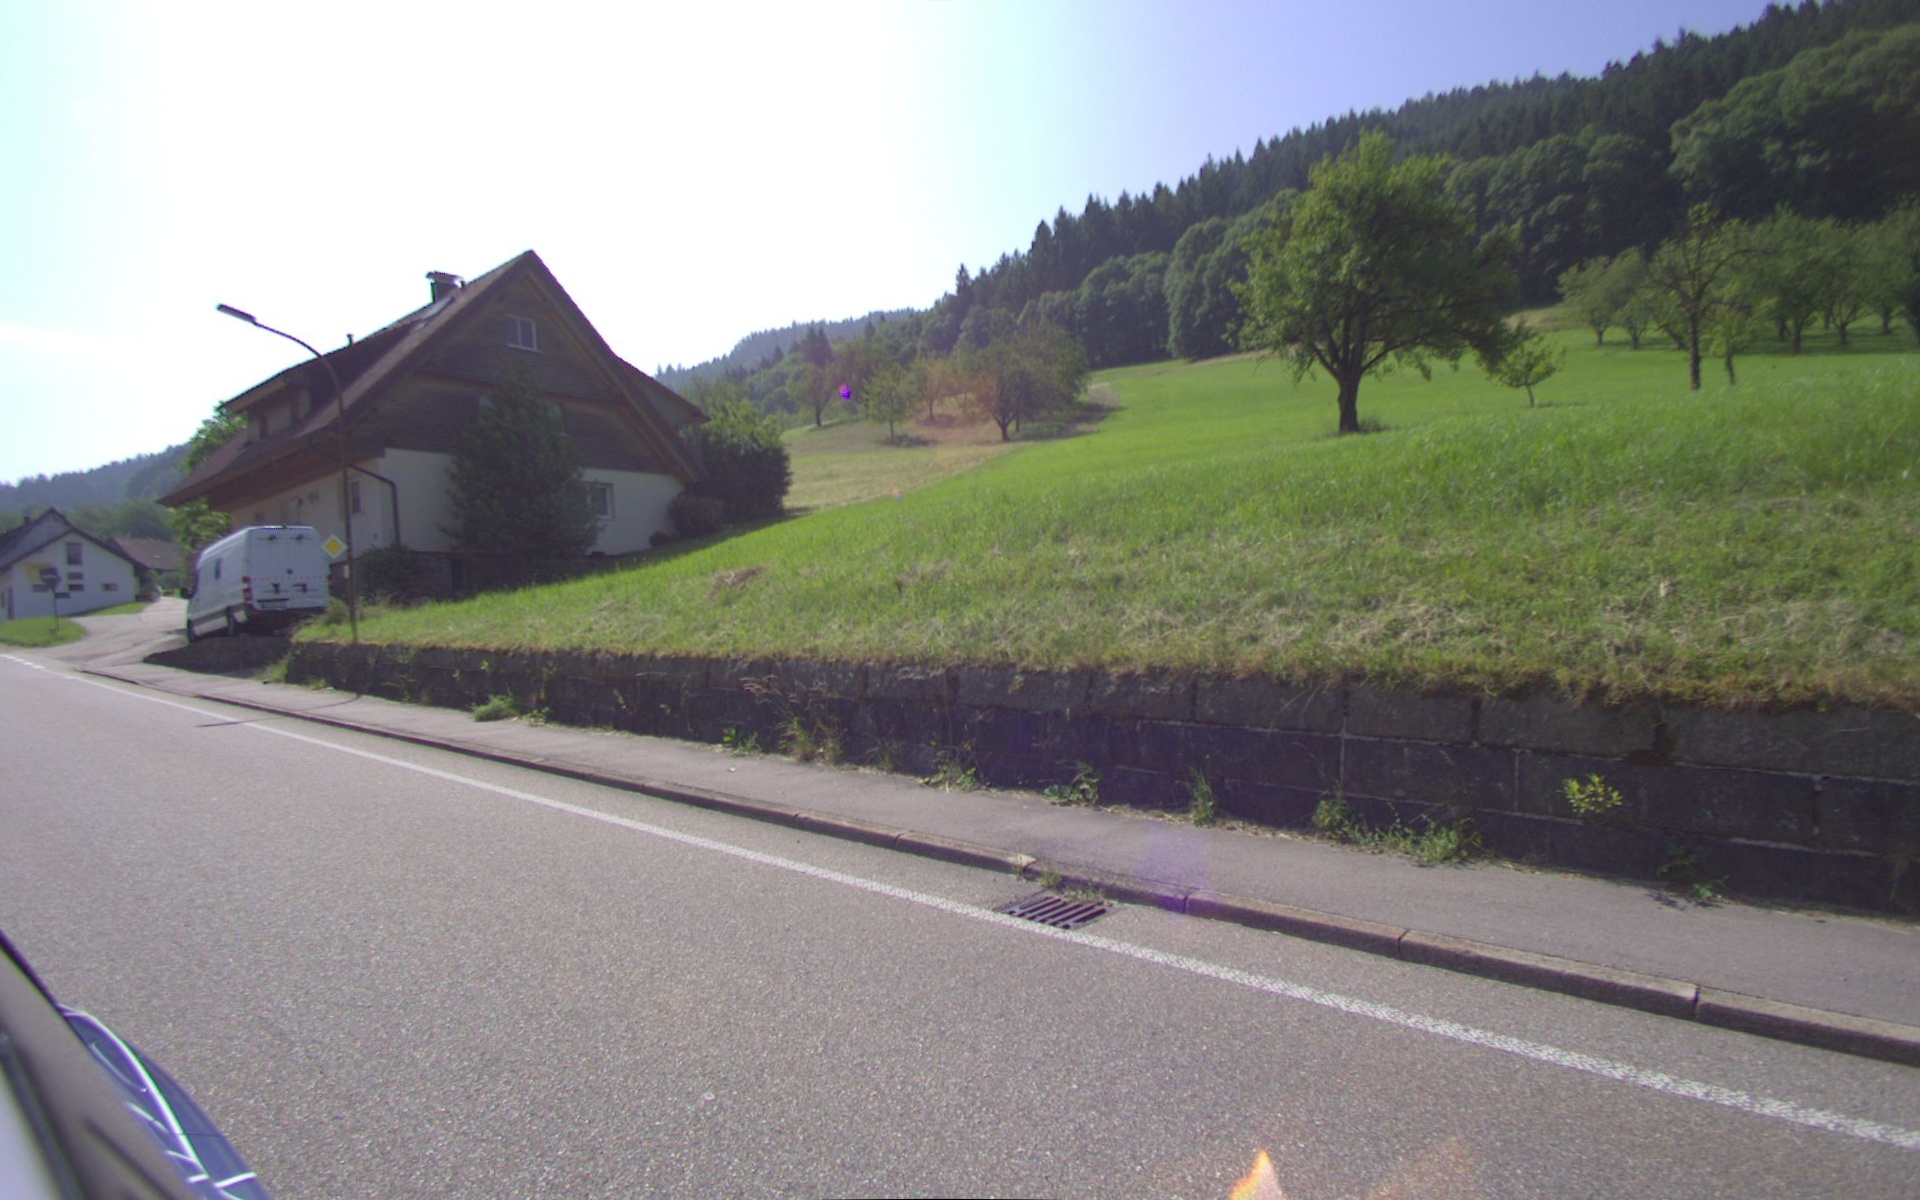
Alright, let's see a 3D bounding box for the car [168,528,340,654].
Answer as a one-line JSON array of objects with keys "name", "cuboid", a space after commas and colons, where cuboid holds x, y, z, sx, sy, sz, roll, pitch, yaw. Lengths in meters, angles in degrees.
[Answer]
[{"name": "car", "cuboid": [-19.161, -0.141, 27.282, 7.171, 2.708, 2.046, -6, -1, 42]}]
